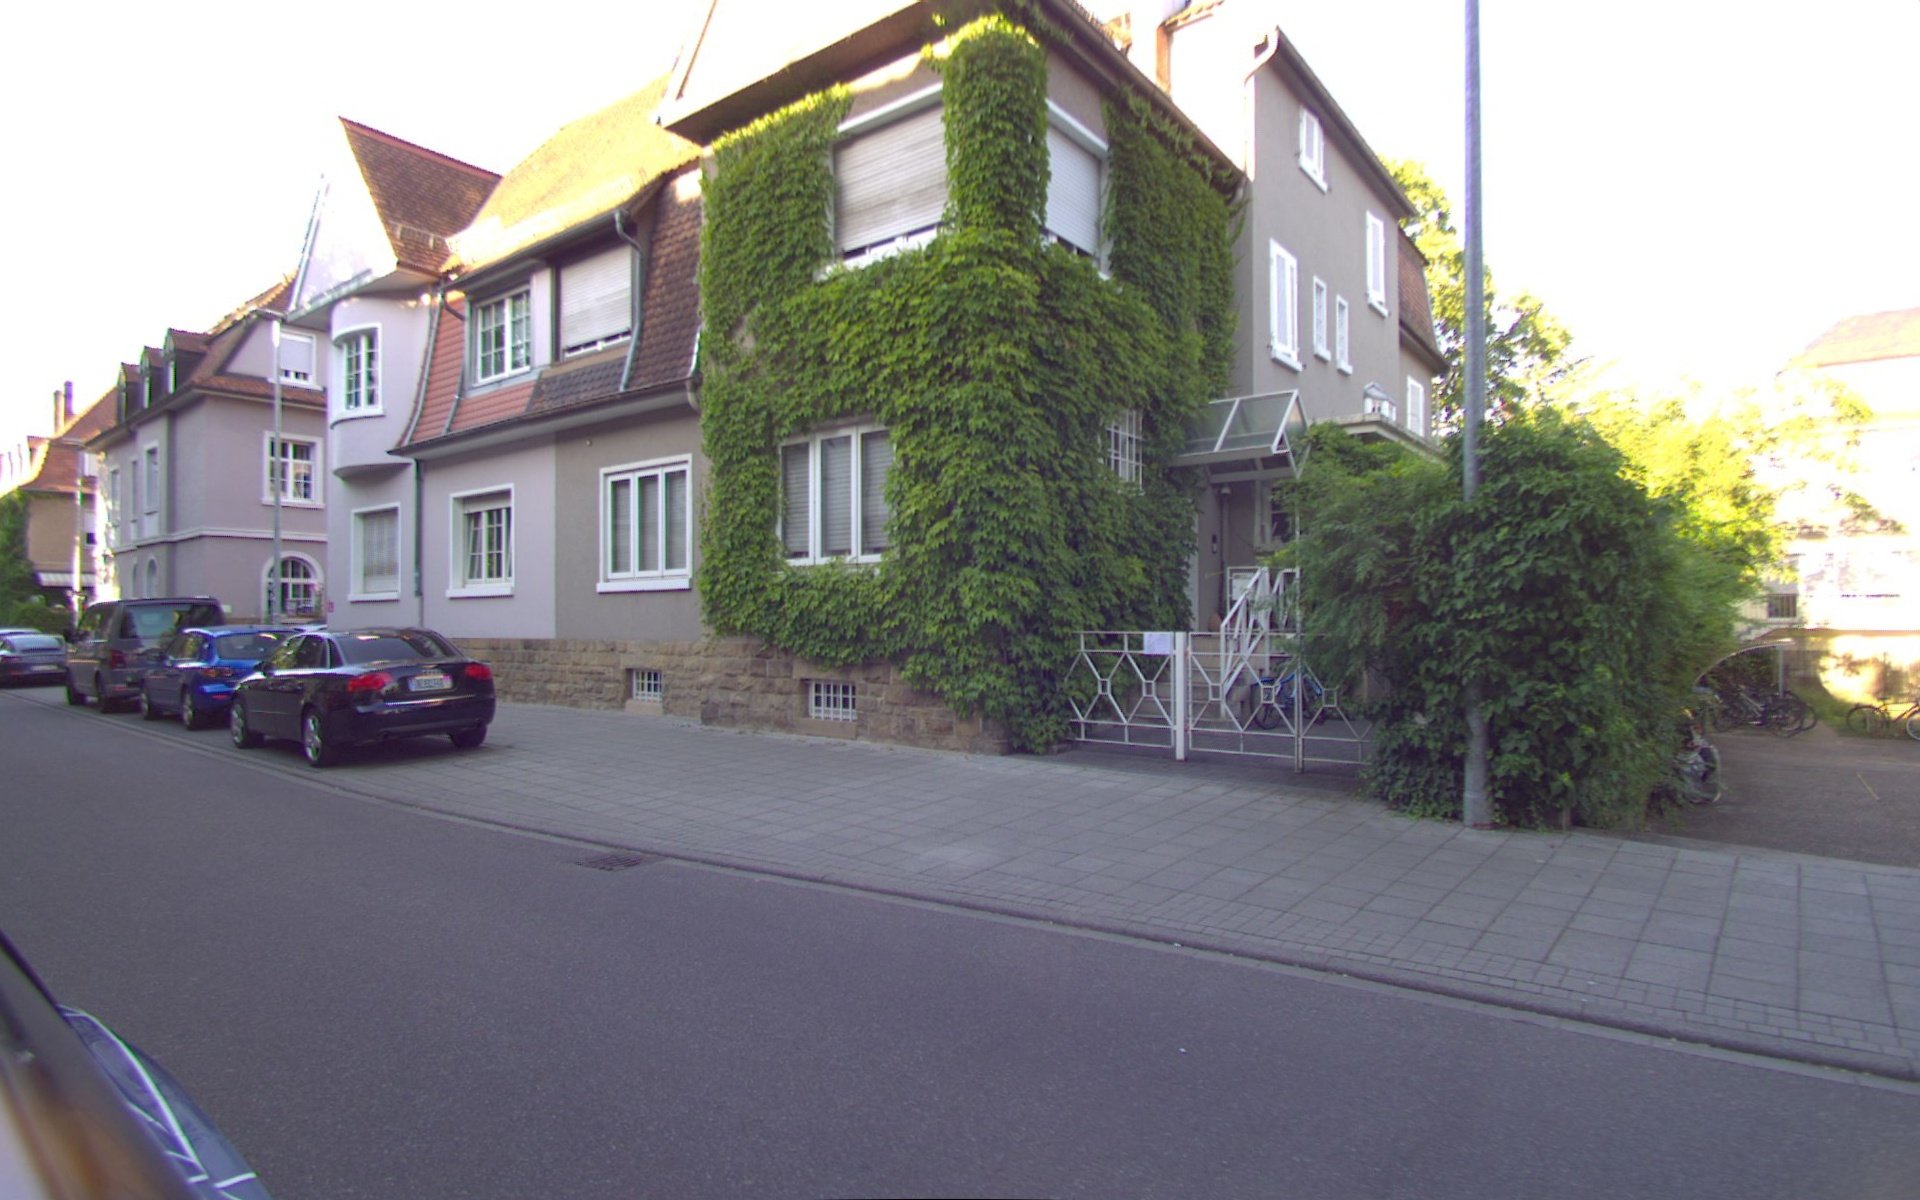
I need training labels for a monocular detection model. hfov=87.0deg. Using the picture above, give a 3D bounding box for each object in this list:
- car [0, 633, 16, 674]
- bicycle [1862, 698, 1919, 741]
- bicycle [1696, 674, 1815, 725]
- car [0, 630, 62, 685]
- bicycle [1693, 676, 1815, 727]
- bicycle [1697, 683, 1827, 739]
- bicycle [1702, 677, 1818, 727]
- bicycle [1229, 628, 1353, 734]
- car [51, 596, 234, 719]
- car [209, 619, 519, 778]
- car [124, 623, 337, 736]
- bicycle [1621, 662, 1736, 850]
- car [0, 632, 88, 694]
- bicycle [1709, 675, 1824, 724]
[{"bbox_3d":[-34.184,1.882,35.191,3.675,1.372,1.641,-2,0,42],"label":"car"},{"bbox_3d":[21.119,2.648,22.349,1.754,0.886,0.558,-1,-4,41],"label":"bicycle"},{"bbox_3d":[20.260,2.516,25.811,2.337,1.186,0.685,-1,-4,41],"label":"bicycle"},{"bbox_3d":[-27.999,1.660,29.756,4.061,1.478,1.907,-2,0,42],"label":"car"},{"bbox_3d":[19.713,2.488,25.155,2.337,1.142,0.685,-1,-4,41],"label":"bicycle"},{"bbox_3d":[18.459,2.530,23.333,2.294,1.142,0.685,-1,-4,41],"label":"bicycle"},{"bbox_3d":[20.814,2.633,26.378,2.337,1.186,0.685,-1,-4,41],"label":"bicycle"},{"bbox_3d":[3.998,0.921,12.115,0.476,1.111,2.172,-2,-1,44],"label":"bicycle"},{"bbox_3d":[-15.284,0.991,18.829,4.609,1.990,1.819,-2,0,41],"label":"car"},{"bbox_3d":[-7.115,1.012,11.879,4.425,1.457,1.783,-2,0,41],"label":"car"},{"bbox_3d":[-11.375,1.137,15.684,4.059,1.457,1.745,-2,0,41],"label":"car"},{"bbox_3d":[9.108,1.781,12.725,0.970,1.907,4.139,-2,-3,38],"label":"bicycle"},{"bbox_3d":[-23.962,1.577,26.050,4.063,1.394,1.906,-2,0,44],"label":"car"},{"bbox_3d":[21.396,2.613,26.880,2.337,1.186,0.685,-1,-4,41],"label":"bicycle"}]
